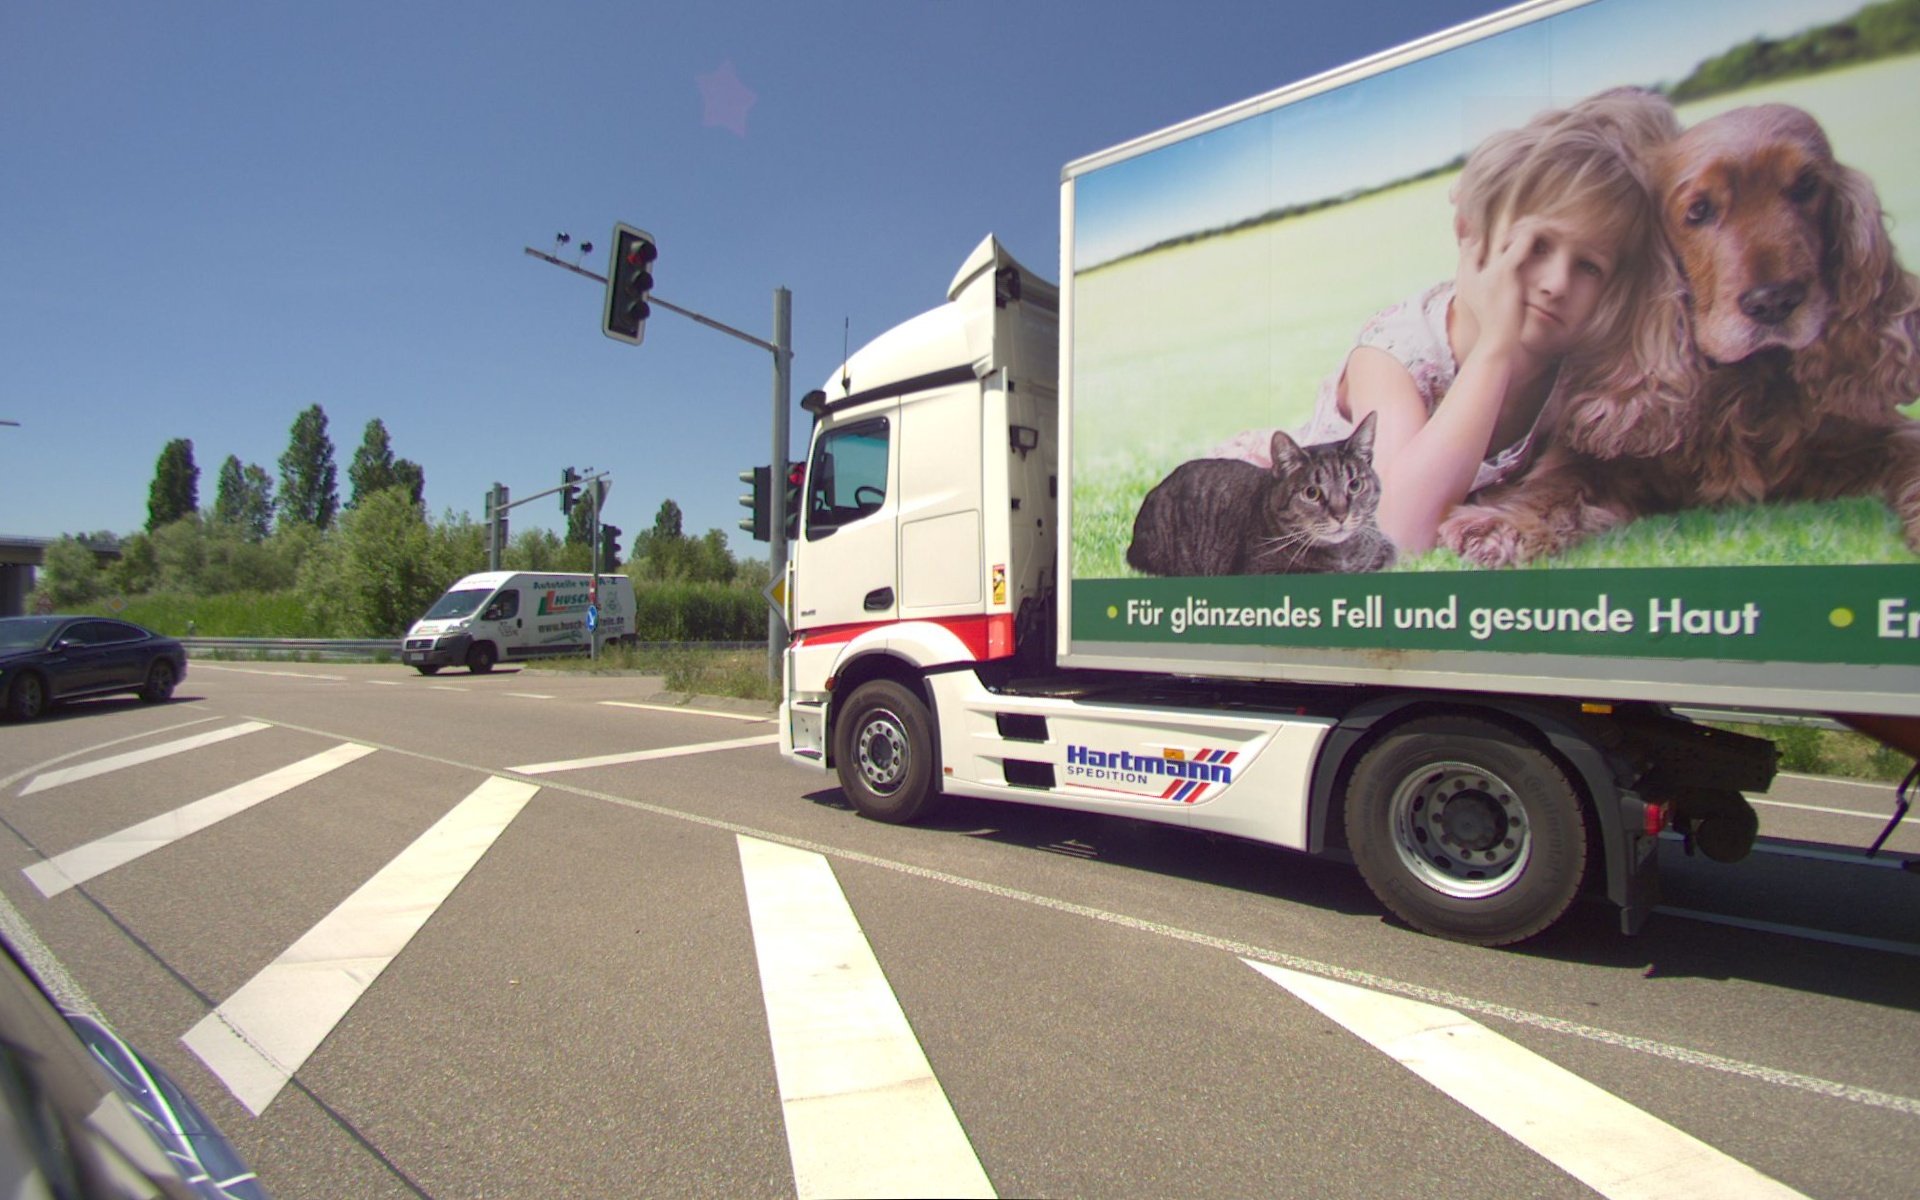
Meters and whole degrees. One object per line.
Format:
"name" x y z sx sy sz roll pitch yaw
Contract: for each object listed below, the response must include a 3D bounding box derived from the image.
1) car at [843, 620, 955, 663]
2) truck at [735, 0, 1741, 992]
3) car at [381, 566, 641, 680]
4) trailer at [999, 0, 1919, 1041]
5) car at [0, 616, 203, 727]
"car" -2.149 1.487 36.262 1.721 1.446 3.903 -1 -3 42
"truck" 1.362 -0.574 6.664 5.823 4.075 2.661 -1 -1 41
"car" -11.016 0.611 25.439 2.218 2.514 5.927 -2 -2 27
"trailer" 6.393 -0.619 2.225 14.118 4.075 2.661 -1 -1 41
"car" -13.456 0.956 14.674 1.821 1.434 4.567 0 -1 -4
